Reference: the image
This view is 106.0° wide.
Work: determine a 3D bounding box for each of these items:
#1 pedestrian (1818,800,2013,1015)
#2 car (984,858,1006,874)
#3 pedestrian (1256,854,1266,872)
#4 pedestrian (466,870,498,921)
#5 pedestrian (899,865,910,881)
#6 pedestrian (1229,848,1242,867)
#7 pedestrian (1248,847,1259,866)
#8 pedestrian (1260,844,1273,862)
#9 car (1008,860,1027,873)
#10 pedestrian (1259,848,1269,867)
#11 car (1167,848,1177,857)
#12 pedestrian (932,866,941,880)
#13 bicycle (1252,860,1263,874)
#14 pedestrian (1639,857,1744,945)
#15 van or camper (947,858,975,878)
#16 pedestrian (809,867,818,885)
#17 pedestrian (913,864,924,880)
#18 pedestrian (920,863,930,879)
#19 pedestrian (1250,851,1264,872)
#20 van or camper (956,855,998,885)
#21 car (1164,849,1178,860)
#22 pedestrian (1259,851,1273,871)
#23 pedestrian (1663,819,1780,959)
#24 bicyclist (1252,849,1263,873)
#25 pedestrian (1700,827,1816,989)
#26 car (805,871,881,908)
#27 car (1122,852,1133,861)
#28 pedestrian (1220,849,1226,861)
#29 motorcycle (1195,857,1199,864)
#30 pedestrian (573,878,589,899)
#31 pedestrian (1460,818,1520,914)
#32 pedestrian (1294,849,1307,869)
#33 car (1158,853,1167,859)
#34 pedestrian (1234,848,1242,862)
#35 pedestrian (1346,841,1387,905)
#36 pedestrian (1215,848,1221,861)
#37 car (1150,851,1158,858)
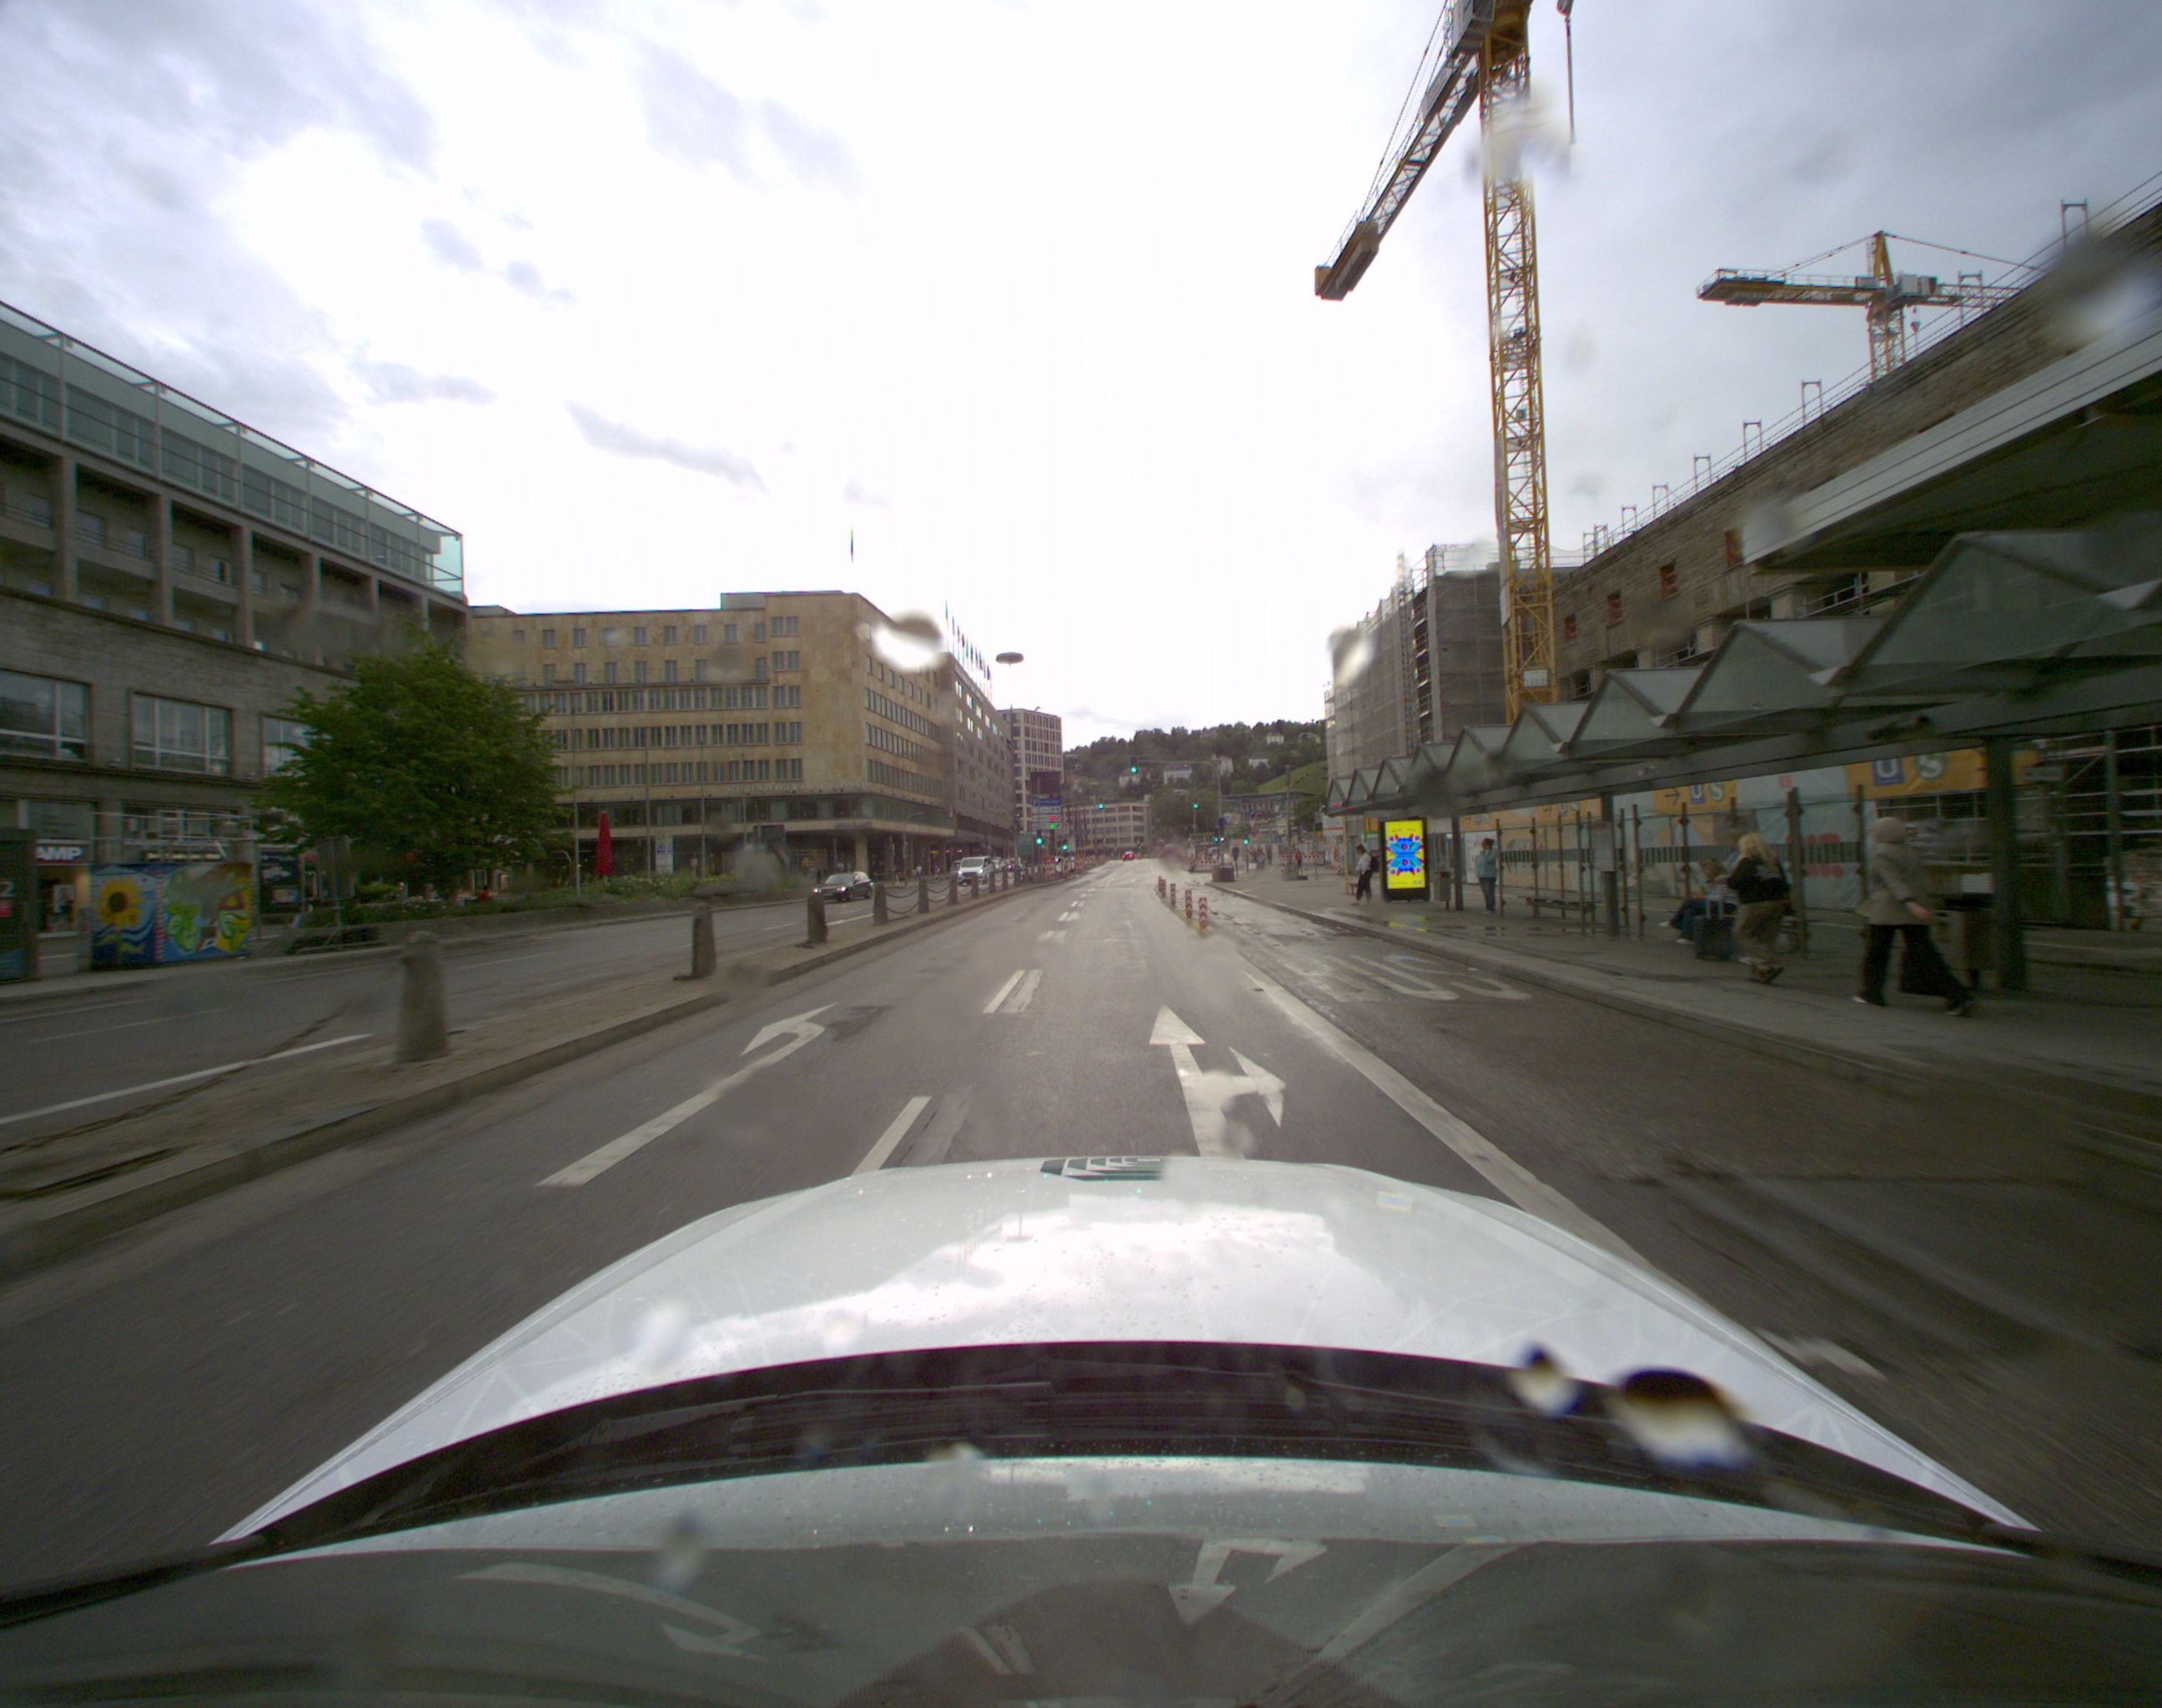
[{"bbox_3d":[7.065,0.430,6.945,0.760,1.693,0.822,-2,-1,1],"label":"pedestrian"},{"bbox_3d":[-11.229,1.546,106.674,1.984,2.014,4.169,-3,-1,4],"label":"car"},{"bbox_3d":[17.115,0.867,77.434,0.860,1.661,0.799,-3,-1,6],"label":"pedestrian"},{"bbox_3d":[-24.800,1.709,33.728,0.664,2.013,0.794,-3,-1,4],"label":"pedestrian"},{"bbox_3d":[-17.622,1.895,81.425,0.718,1.557,1.006,-3,-1,5],"label":"pedestrian"},{"bbox_3d":[15.641,0.317,82.303,0.937,1.841,0.953,-3,-1,34],"label":"pedestrian"},{"bbox_3d":[17.544,0.263,82.805,0.943,1.841,0.867,-2,-1,0],"label":"pedestrian"},{"bbox_3d":[19.008,-0.092,83.531,0.955,1.841,0.857,-2,-1,-44],"label":"pedestrian"},{"bbox_3d":[-8.195,1.617,105.500,1.760,1.609,4.230,-3,-1,4],"label":"car"},{"bbox_3d":[17.434,0.339,77.537,0.858,1.841,0.800,-3,-1,13],"label":"pedestrian"},{"bbox_3d":[19.528,-0.320,174.800,1.767,1.639,4.005,-3,-2,5],"label":"car"},{"bbox_3d":[-16.538,2.168,93.238,0.791,1.526,0.918,-3,-1,5],"label":"pedestrian"},{"bbox_3d":[13.786,1.009,63.561,0.703,1.049,1.810,-1,0,8],"label":"bicycle"},{"bbox_3d":[8.934,0.667,11.948,0.910,1.230,0.841,-1,0,2],"label":"pedestrian"},{"bbox_3d":[-12.929,1.513,88.049,1.985,2.014,4.969,-2,-1,3],"label":"van or camper"},{"bbox_3d":[-24.893,2.052,75.710,0.696,1.644,0.647,-2,-1,-16],"label":"pedestrian"},{"bbox_3d":[-16.194,1.766,81.169,0.718,1.557,0.906,-3,-1,5],"label":"pedestrian"},{"bbox_3d":[-15.471,1.663,80.853,0.718,1.557,0.896,-3,-1,5],"label":"pedestrian"},{"bbox_3d":[14.256,0.602,66.108,0.787,1.608,0.841,-3,-1,32],"label":"pedestrian"},{"bbox_3d":[-7.585,1.171,59.841,1.984,2.014,5.195,-2,-1,4],"label":"van or camper"},{"bbox_3d":[14.613,0.069,132.719,1.985,1.706,4.002,-2,-1,3],"label":"car"},{"bbox_3d":[14.927,0.556,65.672,0.787,1.608,0.841,-3,-1,32],"label":"pedestrian"},{"bbox_3d":[7.931,0.417,10.126,0.805,1.660,0.805,-1,-1,1],"label":"pedestrian"},{"bbox_3d":[13.766,0.553,63.508,0.699,1.845,0.970,-1,-1,8],"label":"bicyclist"},{"bbox_3d":[6.933,0.532,8.372,0.519,1.566,0.729,-2,-1,1],"label":"pedestrian"},{"bbox_3d":[-11.896,1.742,41.072,1.984,1.617,4.984,-3,-1,4],"label":"car"},{"bbox_3d":[8.554,0.395,151.037,1.985,1.552,4.003,-2,-1,3],"label":"car"},{"bbox_3d":[20.825,0.151,119.421,0.684,1.841,0.616,-3,-1,8],"label":"pedestrian"},{"bbox_3d":[11.759,0.642,82.776,0.369,0.722,0.923,-1,0,6],"label":"motorcycle"},{"bbox_3d":[-42.196,2.909,68.726,0.698,1.672,0.837,-2,-1,5],"label":"pedestrian"},{"bbox_3d":[9.026,0.263,17.981,0.808,2.050,0.916,0,-1,-38],"label":"pedestrian"},{"bbox_3d":[18.324,0.421,67.995,0.767,1.608,0.860,-2,-1,-11],"label":"pedestrian"},{"bbox_3d":[20.707,0.479,207.162,1.986,1.442,4.002,-1,0,2],"label":"car"},{"bbox_3d":[21.361,0.108,110.660,0.940,1.841,0.870,-3,-1,10],"label":"pedestrian"},{"bbox_3d":[7.814,0.518,22.304,0.705,1.679,0.717,-2,-1,-25],"label":"pedestrian"},{"bbox_3d":[20.114,0.082,119.529,0.684,1.841,0.616,-3,-1,8],"label":"pedestrian"},{"bbox_3d":[17.331,0.100,192.805,1.812,1.442,4.003,-1,0,3],"label":"car"}]
